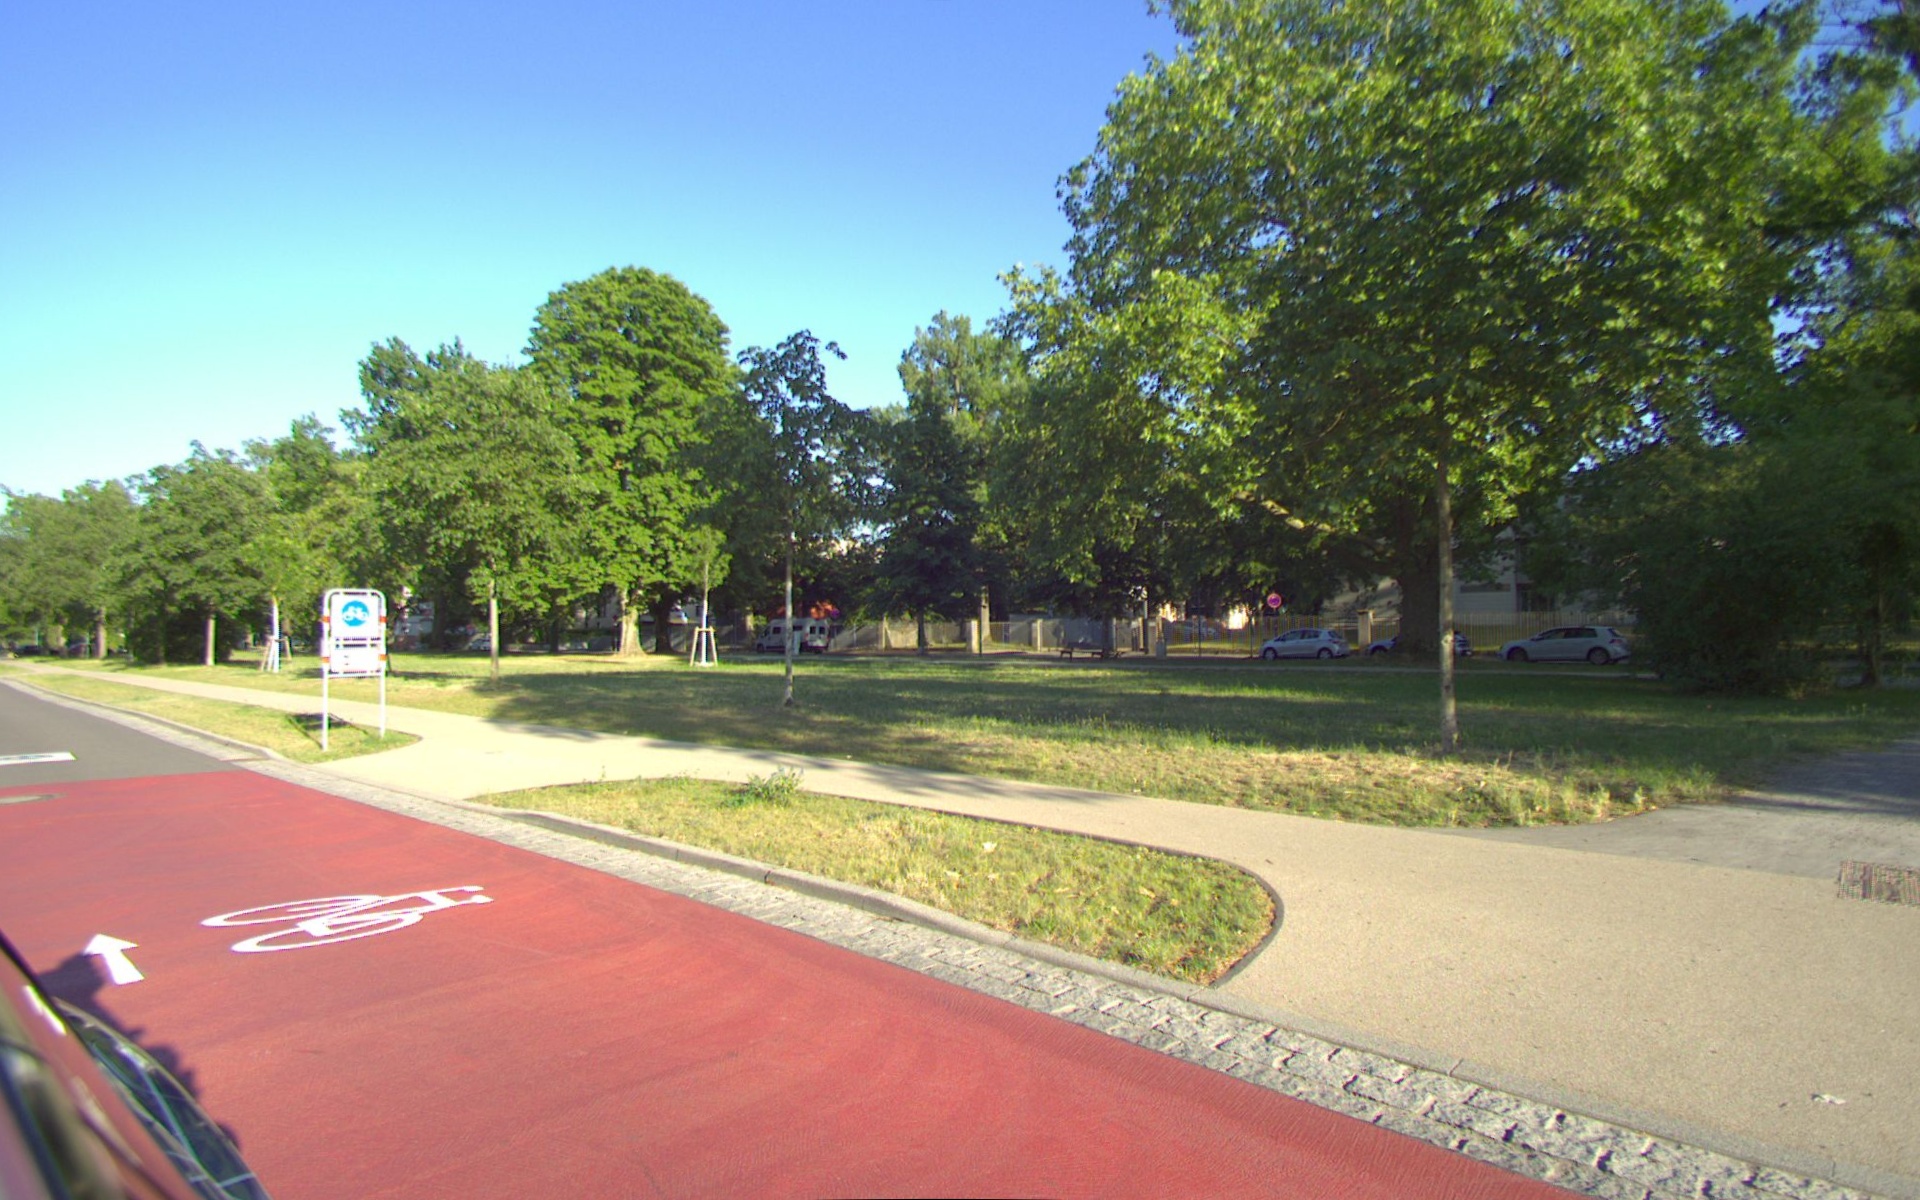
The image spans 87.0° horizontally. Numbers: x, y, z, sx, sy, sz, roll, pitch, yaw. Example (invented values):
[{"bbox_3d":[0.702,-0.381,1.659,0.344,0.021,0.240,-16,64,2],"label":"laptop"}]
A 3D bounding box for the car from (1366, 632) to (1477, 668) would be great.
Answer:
[{"bbox_3d":[18.657,2.028,40.987,3.792,1.378,1.505,-3,-2,43],"label":"car"}]

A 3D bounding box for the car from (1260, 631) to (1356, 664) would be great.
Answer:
[{"bbox_3d":[15.209,2.074,44.315,3.649,1.378,1.505,-3,-2,43],"label":"car"}]

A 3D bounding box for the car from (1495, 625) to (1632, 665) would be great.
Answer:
[{"bbox_3d":[22.238,1.660,37.389,4.108,1.378,1.505,-3,-2,43],"label":"car"}]

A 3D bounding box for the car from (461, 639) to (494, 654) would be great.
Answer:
[{"bbox_3d":[-50.621,4.853,106.143,3.999,1.475,1.773,-3,-2,42],"label":"car"}]

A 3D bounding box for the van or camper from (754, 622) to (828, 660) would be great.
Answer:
[{"bbox_3d":[-11.672,2.824,69.646,5.464,2.458,1.973,-3,-1,41],"label":"van or camper"}]
